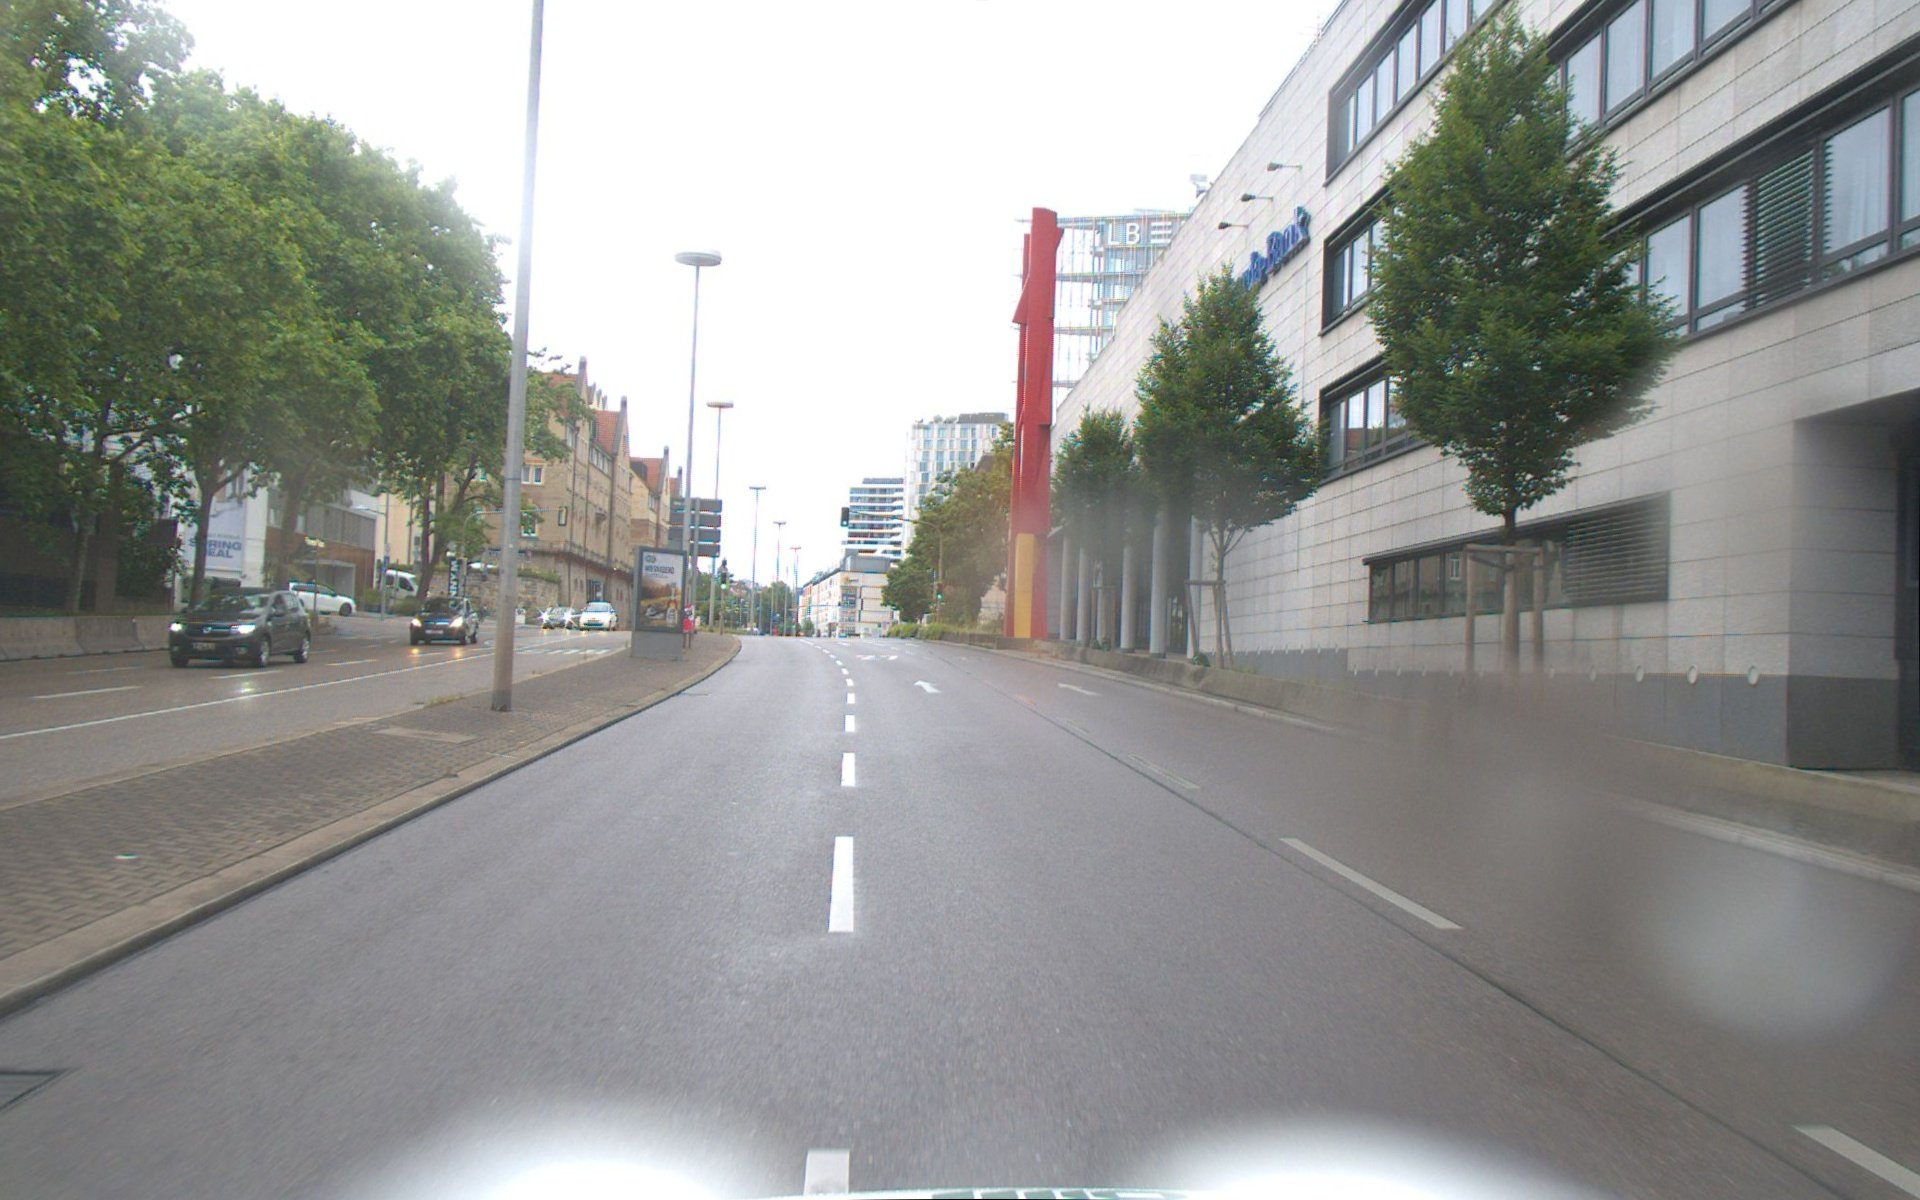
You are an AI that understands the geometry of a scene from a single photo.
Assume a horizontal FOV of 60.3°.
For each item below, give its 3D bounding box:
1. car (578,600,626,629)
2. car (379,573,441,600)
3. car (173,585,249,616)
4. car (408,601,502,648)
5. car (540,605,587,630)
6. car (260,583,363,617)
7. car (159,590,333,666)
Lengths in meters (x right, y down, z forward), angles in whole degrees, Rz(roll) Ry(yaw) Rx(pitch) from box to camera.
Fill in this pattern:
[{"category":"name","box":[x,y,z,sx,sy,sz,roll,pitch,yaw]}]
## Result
[{"category":"car","box":[-19.062,0.807,88.300,1.782,1.494,3.998,0,-1,-1]},{"category":"car","box":[-36.281,-0.881,109.129,3.559,1.730,1.822,0,-1,-7]},{"category":"car","box":[-36.989,0.020,81.738,1.255,1.451,3.172,-1,-2,41]},{"category":"car","box":[-15.830,0.784,52.022,1.782,1.428,3.998,0,-1,-1]},{"category":"car","box":[-22.749,1.033,95.009,1.782,1.409,3.998,0,-1,-1]},{"category":"car","box":[-32.226,0.026,82.291,1.788,1.537,4.563,-1,-2,34]},{"category":"car","box":[-14.147,0.579,33.016,1.782,1.428,3.998,0,-1,-1]}]
